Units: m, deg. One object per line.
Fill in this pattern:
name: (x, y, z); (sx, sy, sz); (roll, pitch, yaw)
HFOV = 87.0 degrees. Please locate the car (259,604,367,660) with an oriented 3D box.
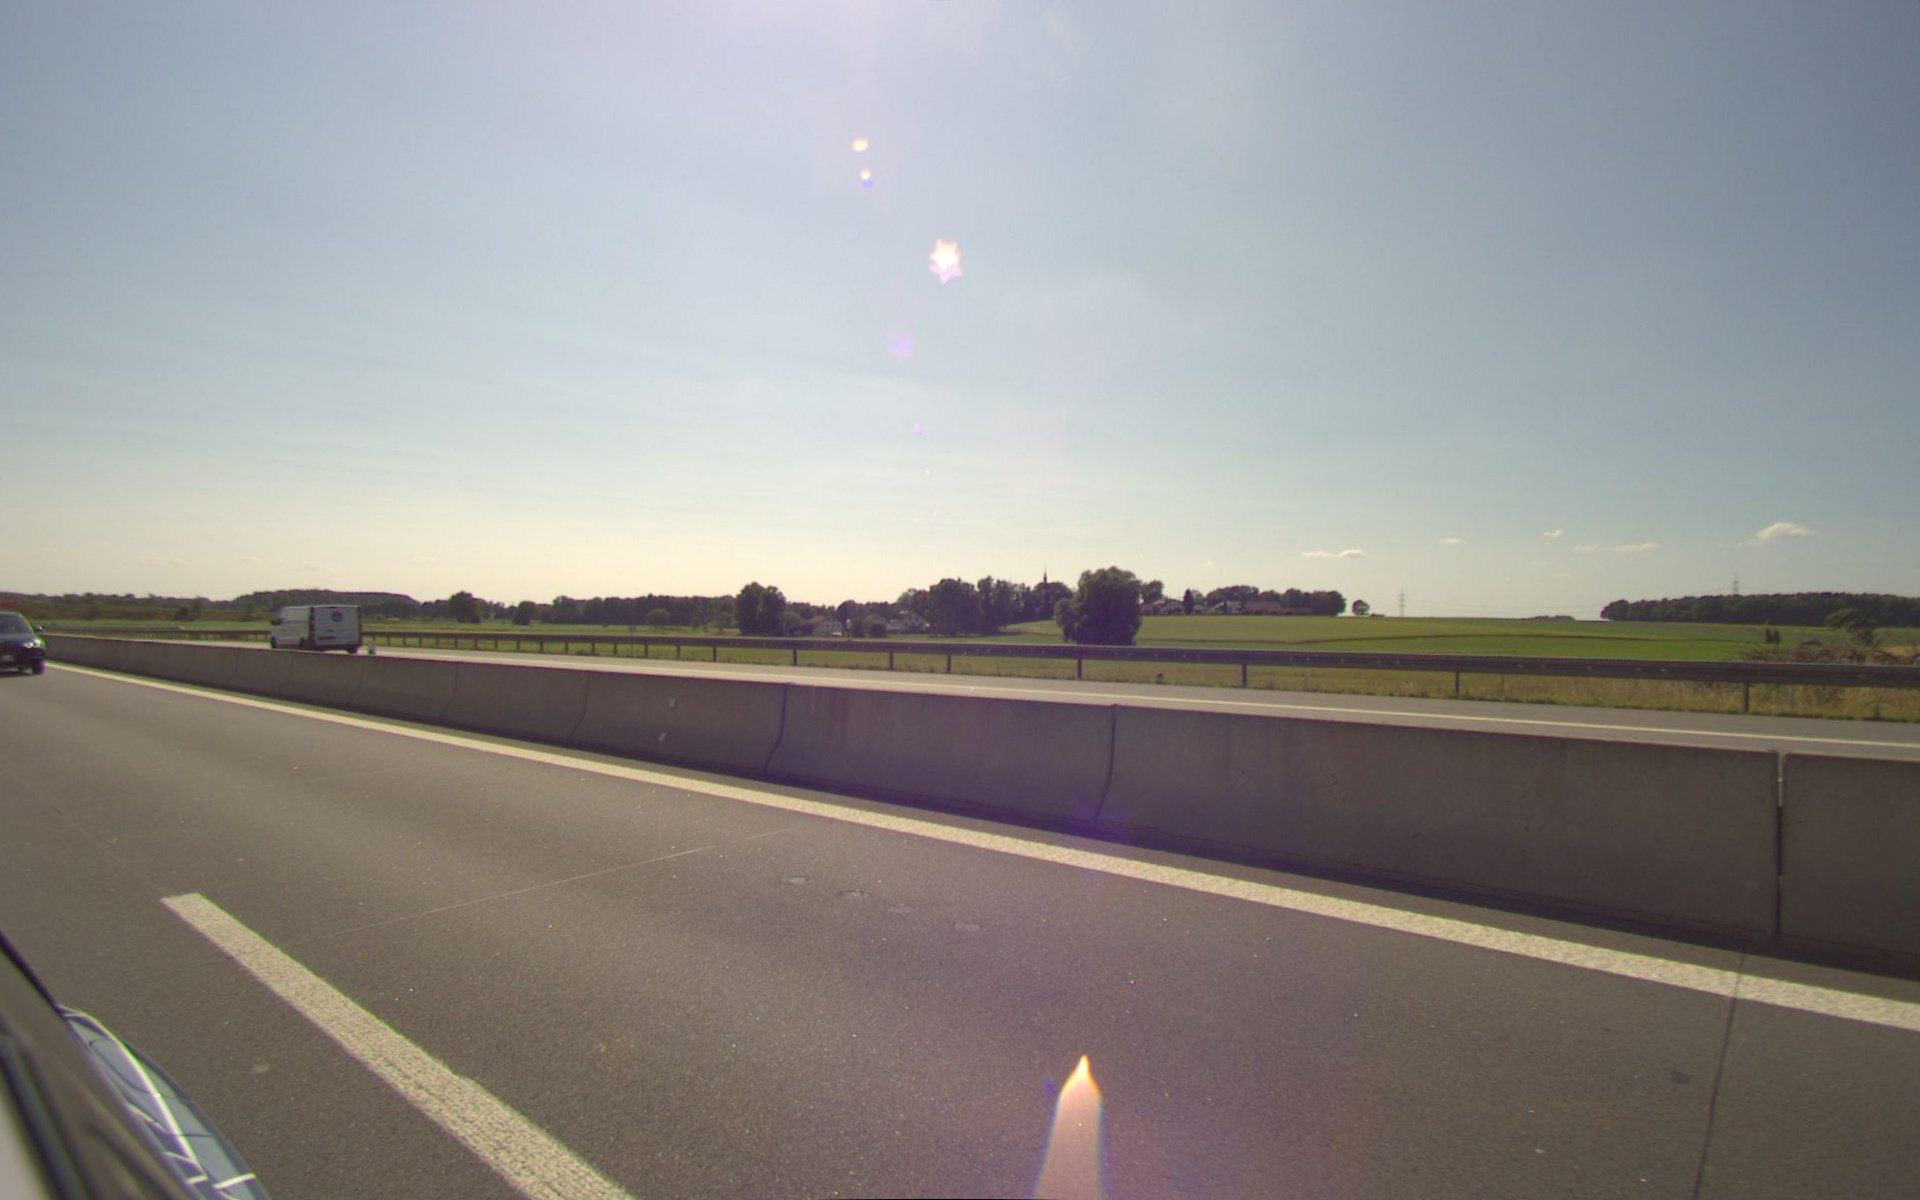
car: (-25.668, 1.200, 40.038); (5.711, 2.029, 1.973); (0, 1, 40)

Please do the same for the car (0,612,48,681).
car: (-25.104, 1.161, 25.935); (4.816, 1.622, 2.004); (-1, 1, 41)
